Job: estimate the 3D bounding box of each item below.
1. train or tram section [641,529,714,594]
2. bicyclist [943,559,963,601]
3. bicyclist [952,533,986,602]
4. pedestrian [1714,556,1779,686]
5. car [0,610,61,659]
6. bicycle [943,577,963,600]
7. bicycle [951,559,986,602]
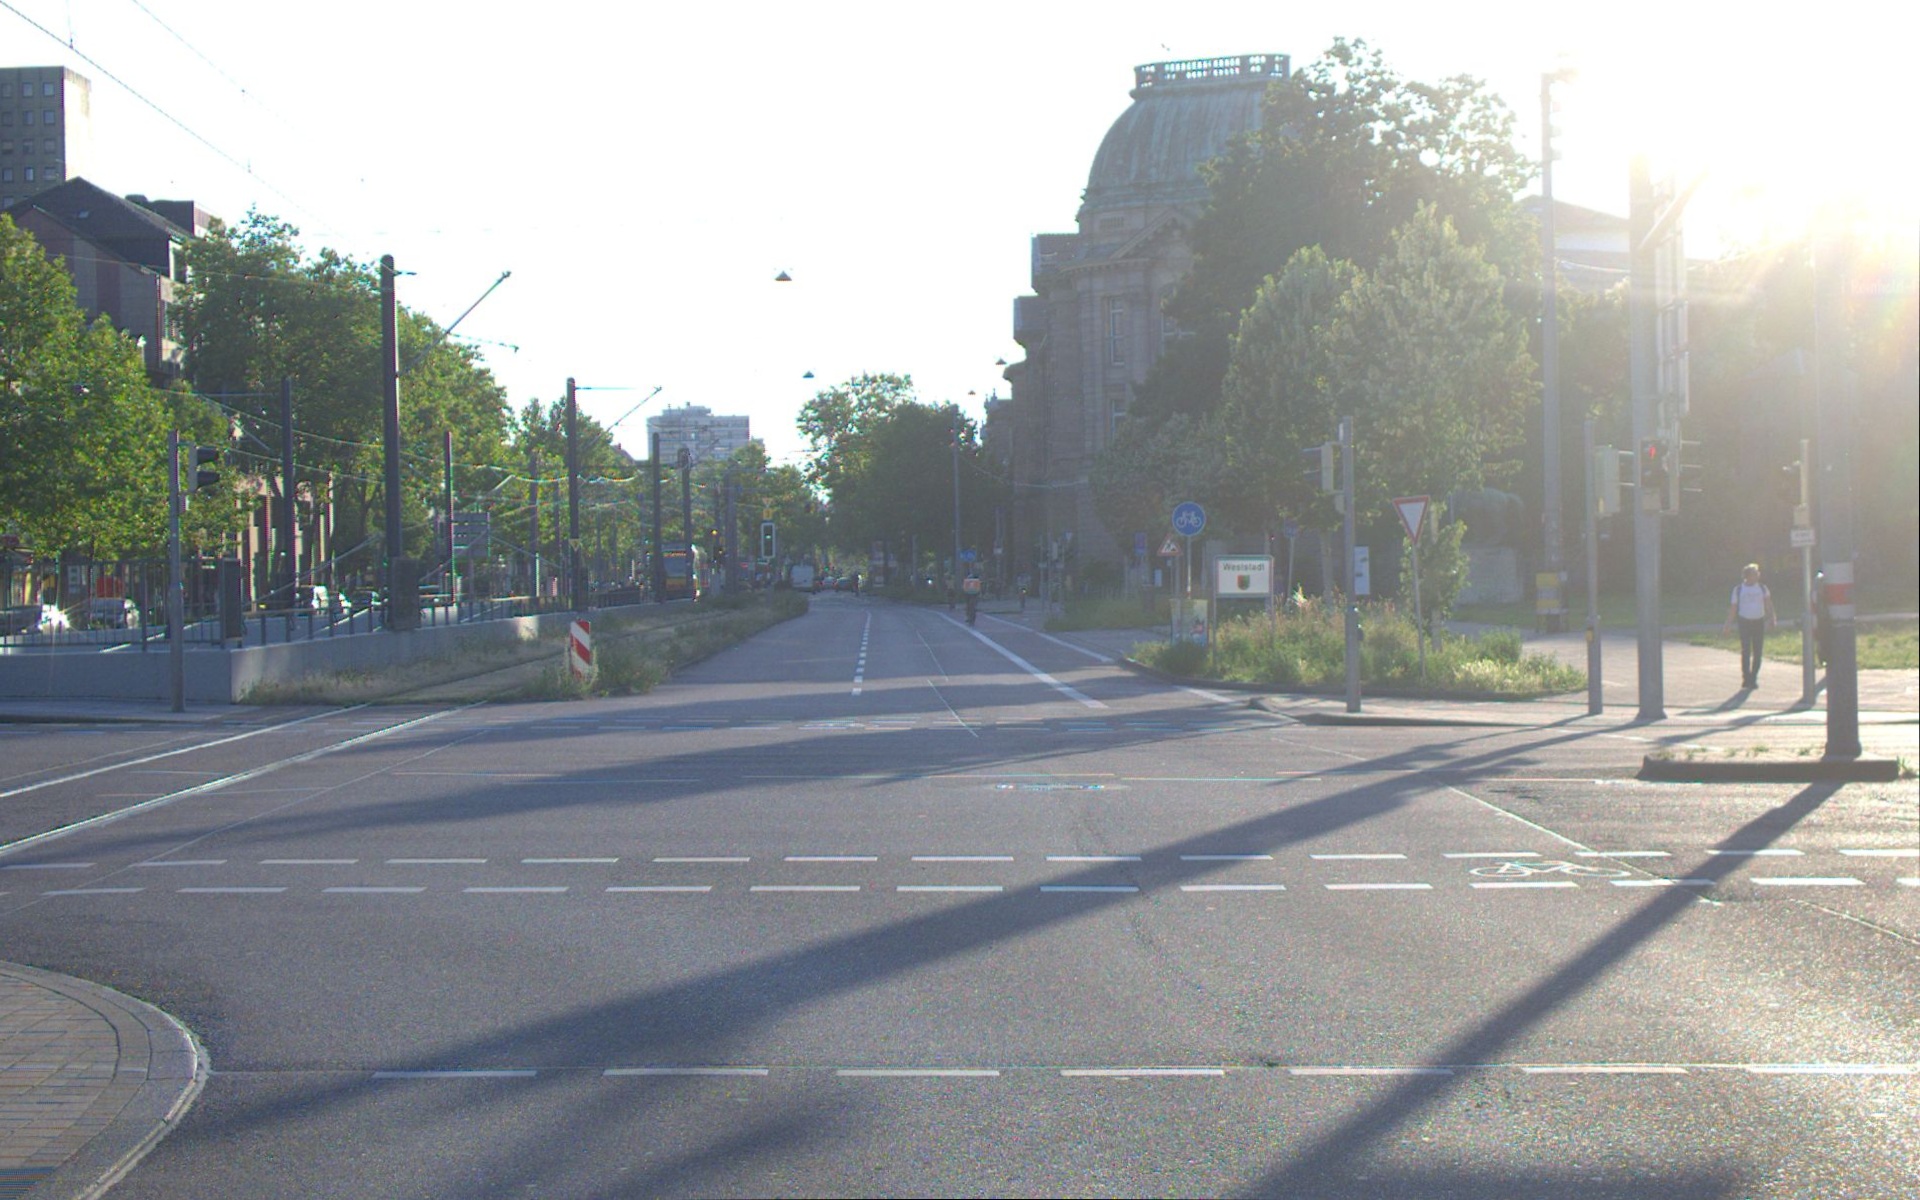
[{"bbox_3d":[-17.709,-2.398,215.385,4.385,3.837,11.411,-1,1,-5],"label":"train or tram section"},{"bbox_3d":[-0.328,-0.980,165.686,0.925,2.007,0.850,-1,0,-1],"label":"bicyclist"},{"bbox_3d":[0.287,-1.063,113.409,1.082,2.268,0.986,-1,0,-1],"label":"bicyclist"},{"bbox_3d":[11.114,0.292,48.562,0.833,1.797,0.810,-1,0,15],"label":"pedestrian"},{"bbox_3d":[-29.378,1.076,106.511,1.819,1.415,4.000,-1,1,3],"label":"car"},{"bbox_3d":[-0.339,-0.563,165.711,0.924,1.108,2.333,-1,0,-1],"label":"bicycle"},{"bbox_3d":[0.284,-0.642,113.413,1.098,1.394,2.832,-1,0,-1],"label":"bicycle"}]
